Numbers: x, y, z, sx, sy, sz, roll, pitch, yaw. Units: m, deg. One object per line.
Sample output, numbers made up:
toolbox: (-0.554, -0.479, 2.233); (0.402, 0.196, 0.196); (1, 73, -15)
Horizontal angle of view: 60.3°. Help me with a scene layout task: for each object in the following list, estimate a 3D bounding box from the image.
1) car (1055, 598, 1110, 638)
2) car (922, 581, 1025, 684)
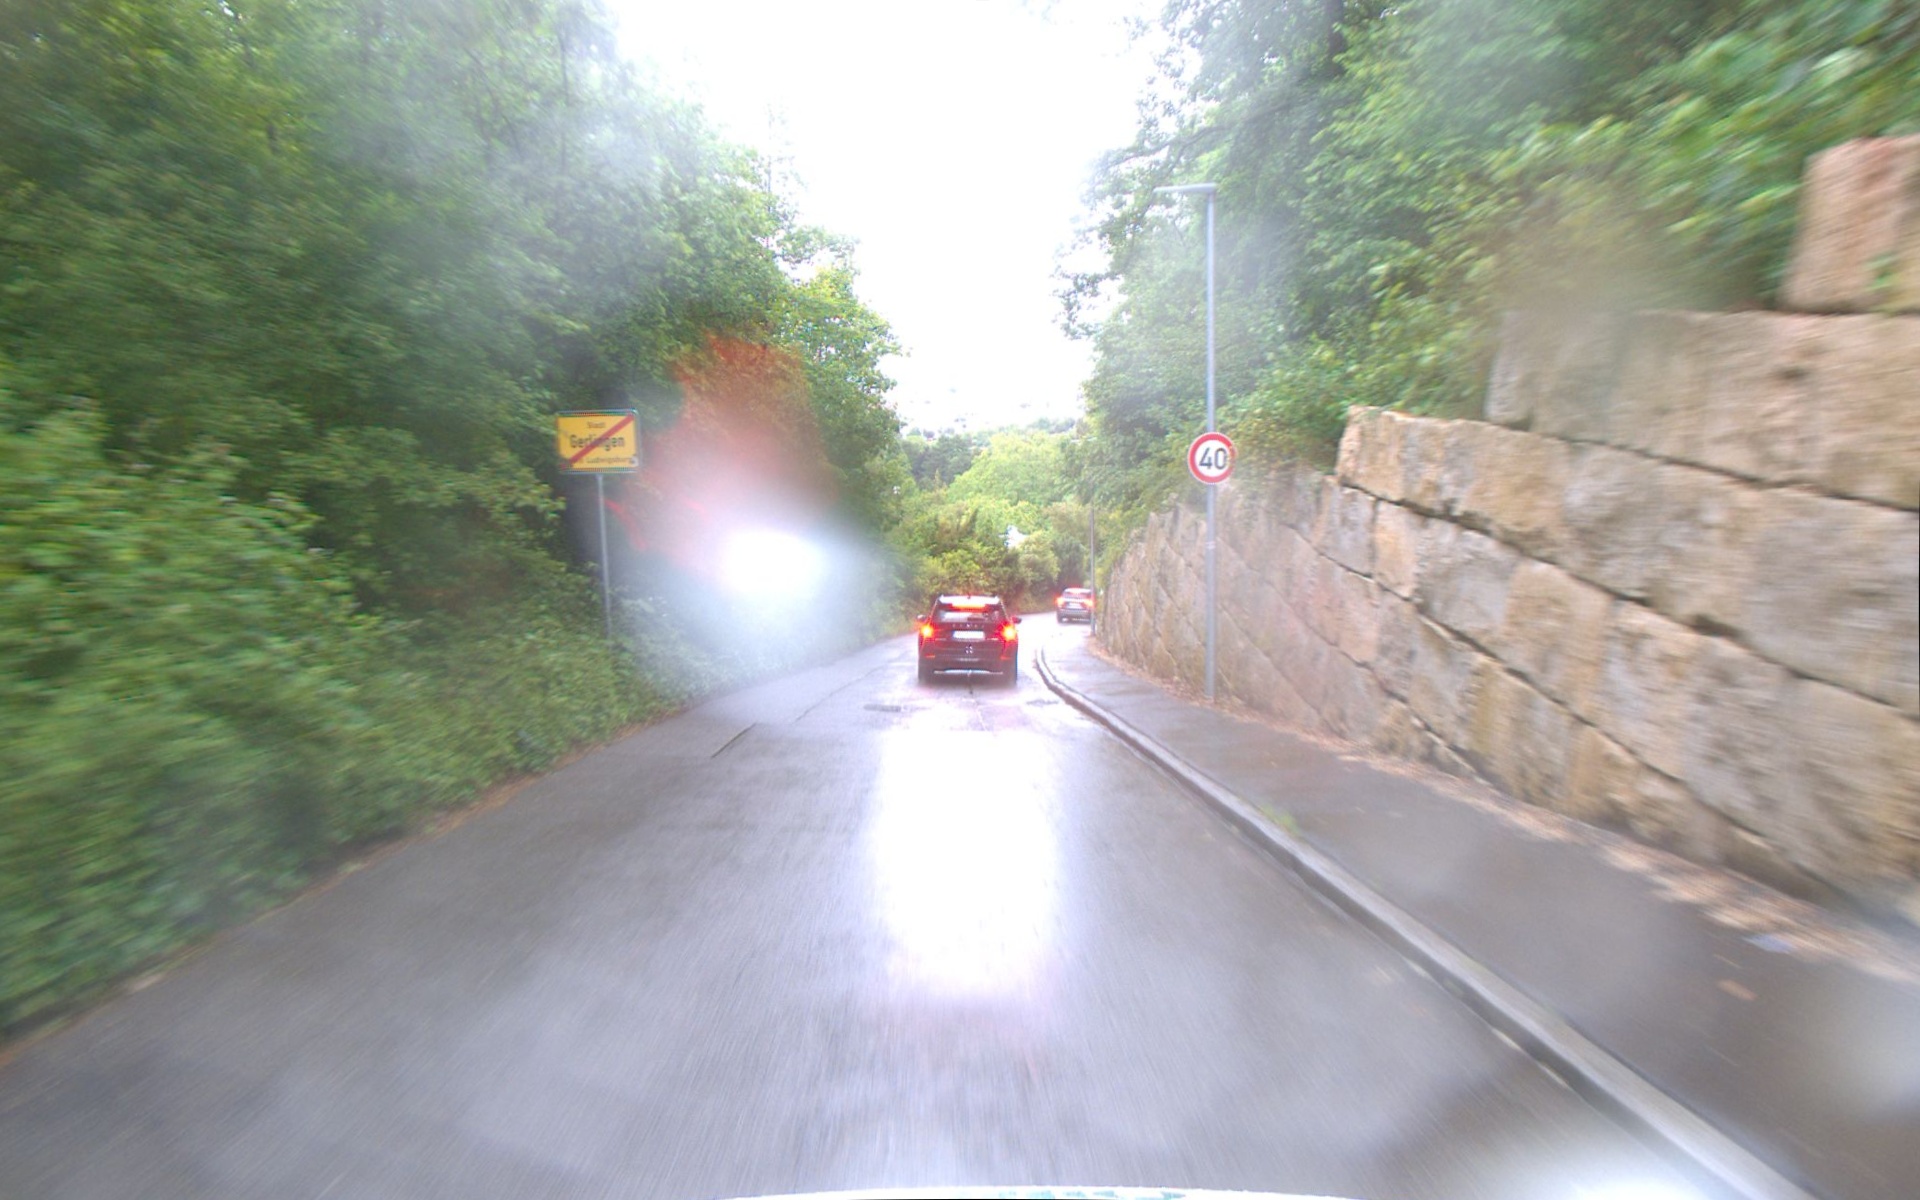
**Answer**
car: (5.758, 0.810, 77.168); (1.823, 1.773, 4.003); (2, 0, 14)
car: (0.304, 0.523, 29.524); (1.664, 1.475, 4.004); (0, 4, 3)
